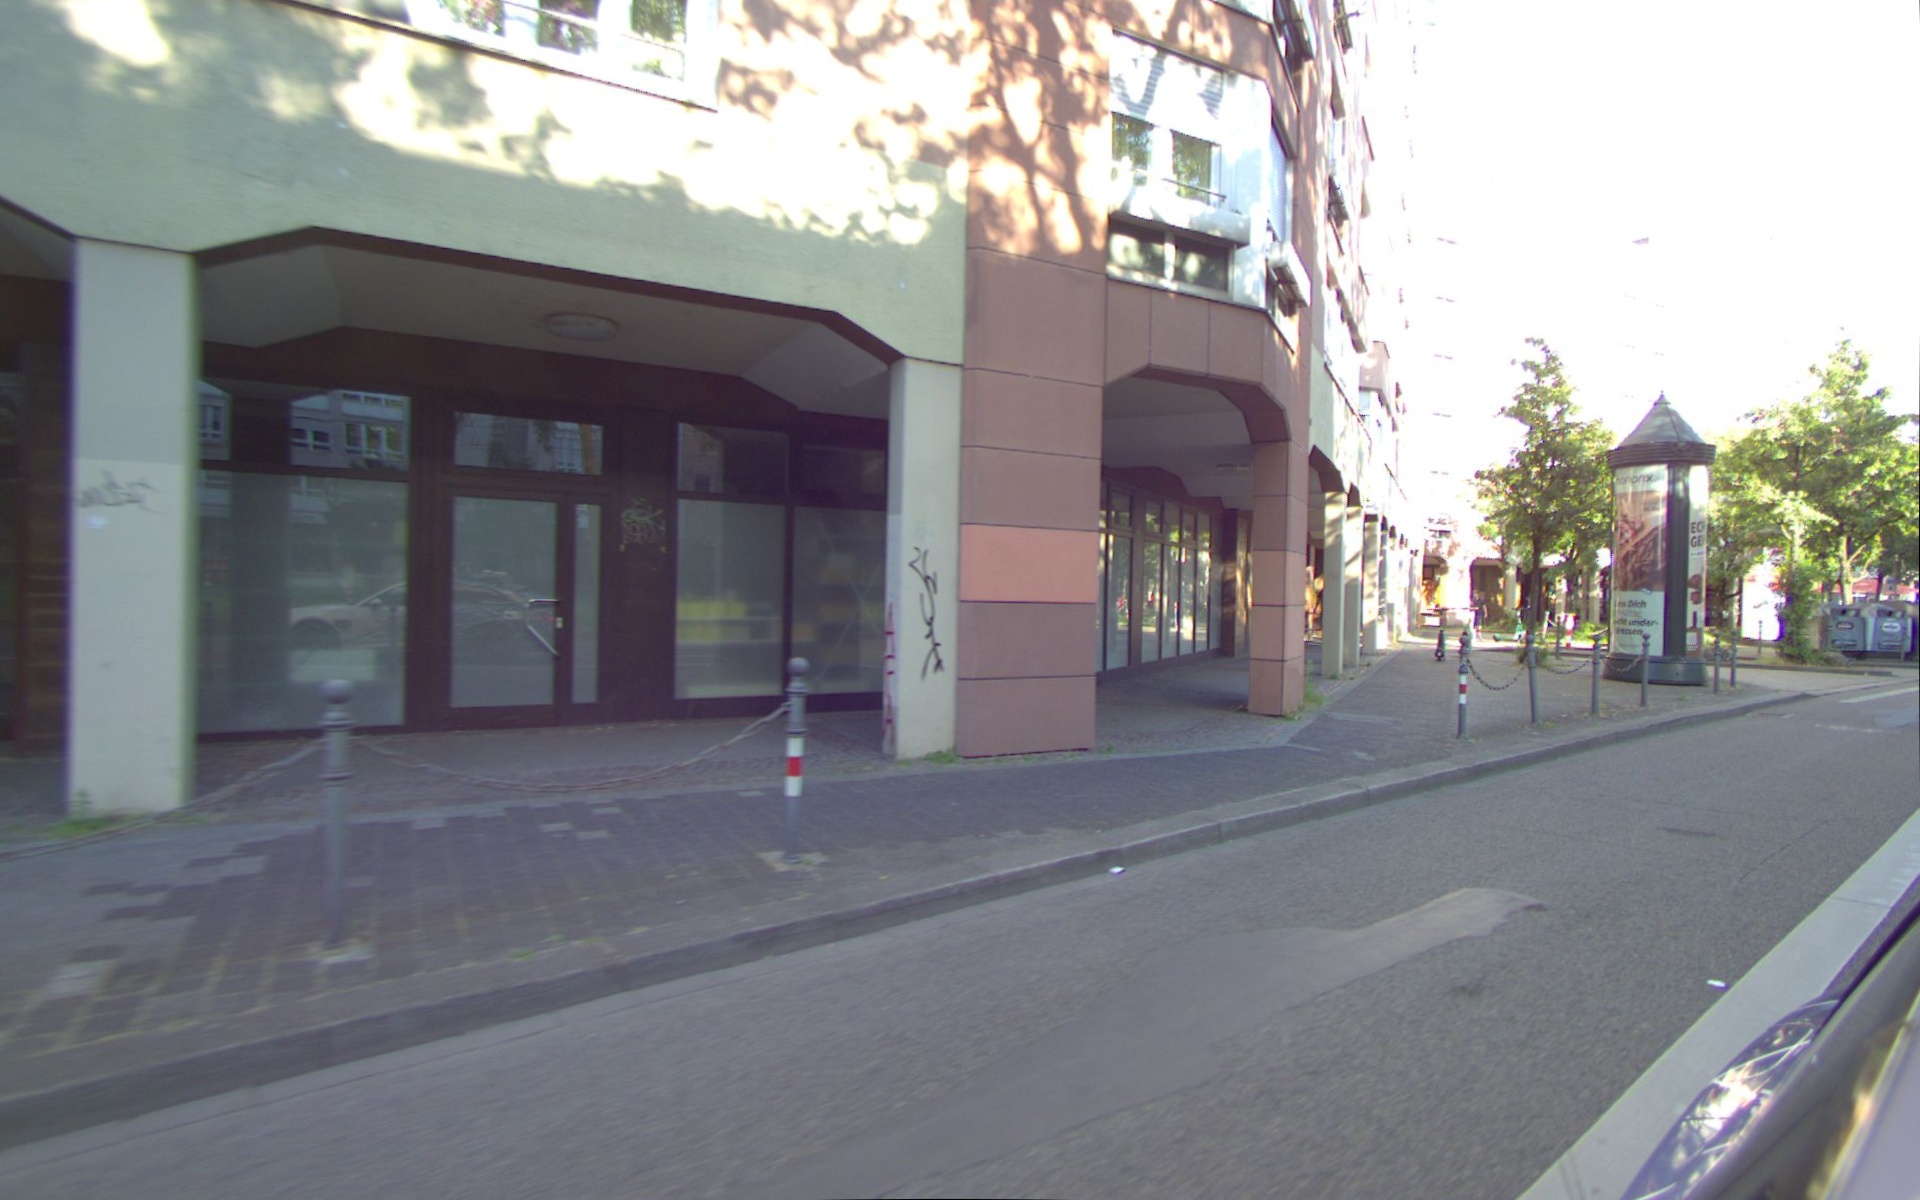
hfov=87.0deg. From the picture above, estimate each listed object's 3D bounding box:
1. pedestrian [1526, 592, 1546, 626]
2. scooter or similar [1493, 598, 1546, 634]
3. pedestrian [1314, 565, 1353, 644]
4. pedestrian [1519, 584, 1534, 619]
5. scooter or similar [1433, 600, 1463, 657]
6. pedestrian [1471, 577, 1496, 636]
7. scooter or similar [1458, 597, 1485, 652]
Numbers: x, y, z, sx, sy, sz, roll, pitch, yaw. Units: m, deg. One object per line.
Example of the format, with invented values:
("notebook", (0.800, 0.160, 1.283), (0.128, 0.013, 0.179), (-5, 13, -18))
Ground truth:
("pedestrian", (31.269, 0.497, 54.935), (0.767, 1.828, 0.722), (1, 0, 17))
("scooter or similar", (18.777, 0.519, 33.985), (0.548, 1.160, 1.460), (1, 0, -33))
("pedestrian", (9.722, 0.111, 26.336), (0.812, 2.006, 0.839), (1, 0, 31))
("pedestrian", (31.421, 0.080, 56.134), (0.616, 1.894, 0.702), (1, 0, 25))
("scooter or similar", (10.964, 0.619, 22.735), (0.482, 1.232, 1.435), (1, 0, 30))
("pedestrian", (18.111, 0.230, 35.023), (0.637, 2.006, 0.766), (1, 0, 35))
("scooter or similar", (12.495, 0.576, 24.712), (0.482, 1.290, 1.435), (1, 0, 30))
